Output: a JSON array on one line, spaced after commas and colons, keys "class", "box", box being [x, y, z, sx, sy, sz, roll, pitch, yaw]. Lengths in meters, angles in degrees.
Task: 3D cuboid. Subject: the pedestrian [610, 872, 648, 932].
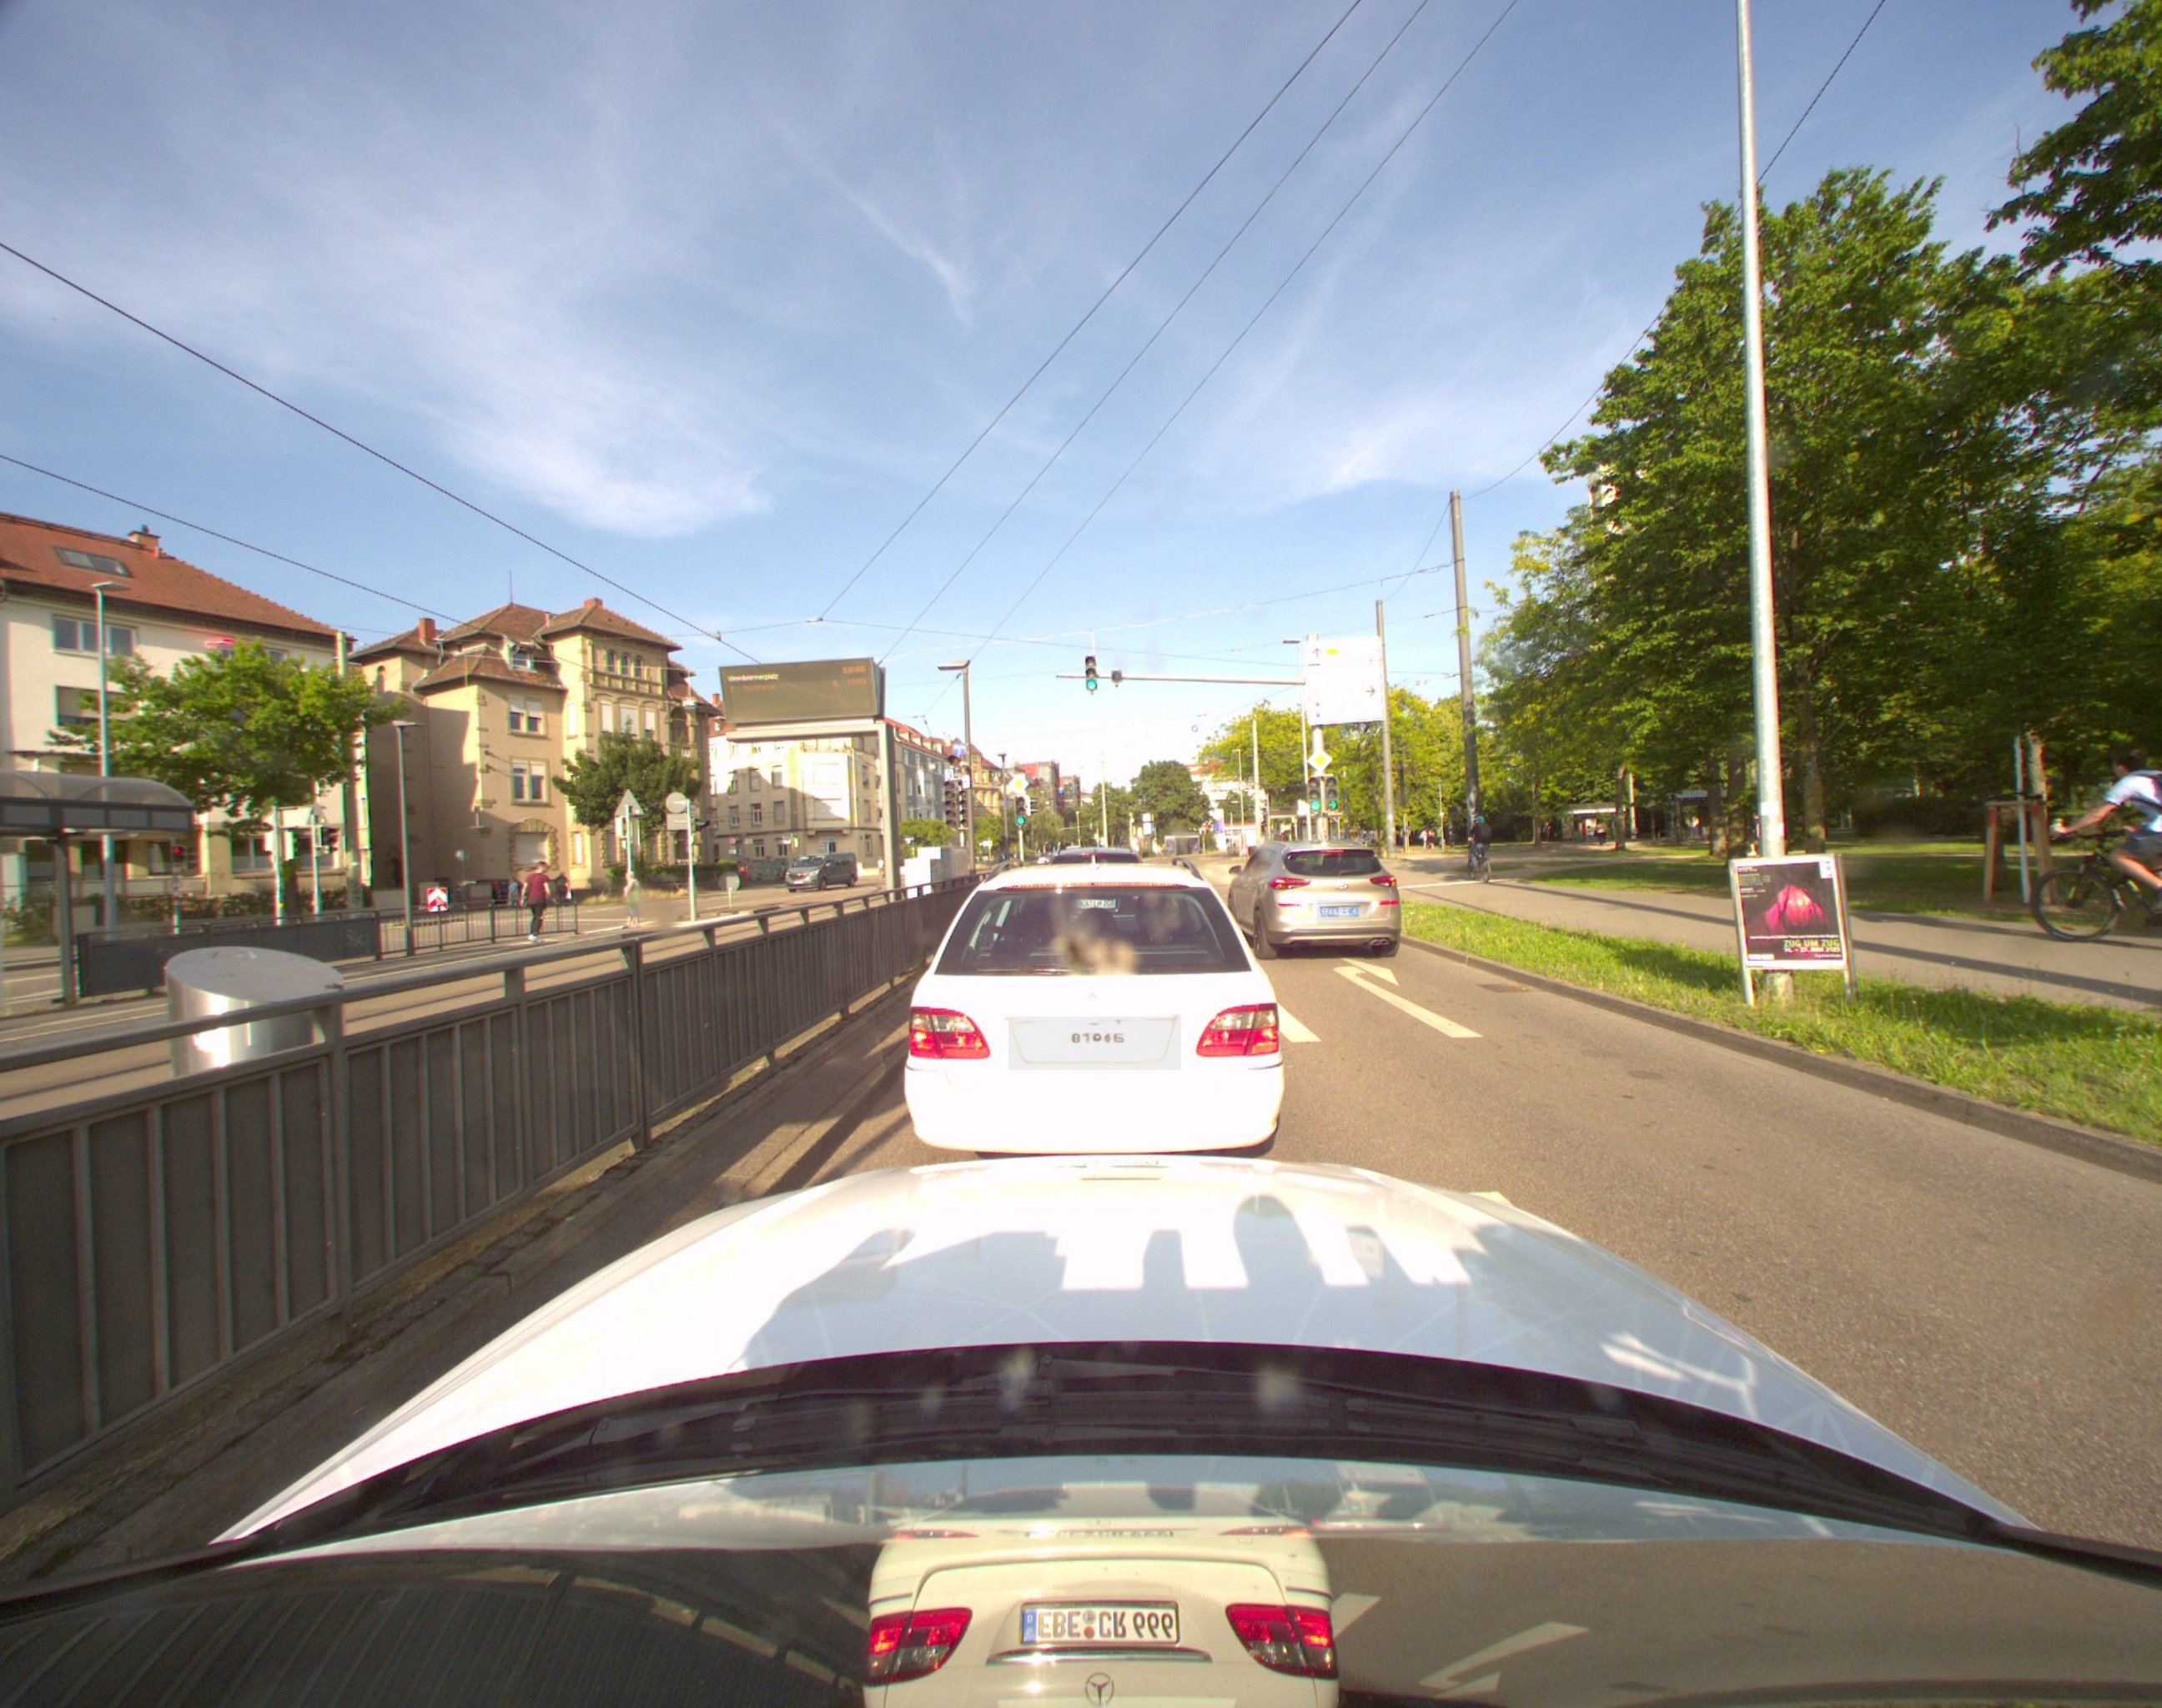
[{"class": "pedestrian", "box": [-12.522, 1.308, 22.580, 0.588, 1.589, 0.715, -3, 0, -2]}]

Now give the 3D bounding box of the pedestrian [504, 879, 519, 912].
[{"class": "pedestrian", "box": [-26.865, 1.945, 38.417, 0.400, 1.515, 0.392, -3, 0, 28]}]

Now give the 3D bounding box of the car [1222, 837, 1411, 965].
[{"class": "car", "box": [3.337, 0.590, 12.301, 1.828, 1.600, 3.817, -1, 0, 2]}]

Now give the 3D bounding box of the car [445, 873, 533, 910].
[{"class": "car", "box": [-29.439, 1.884, 40.494, 3.950, 1.632, 1.787, -3, 1, 26]}]

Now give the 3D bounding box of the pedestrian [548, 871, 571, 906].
[{"class": "pedestrian", "box": [-24.941, 1.646, 38.956, 0.672, 1.651, 0.608, -3, 0, 28]}]

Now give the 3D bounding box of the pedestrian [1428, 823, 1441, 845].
[{"class": "pedestrian", "box": [27.437, -1.532, 63.263, 0.638, 1.665, 0.691, -3, 0, 1]}]

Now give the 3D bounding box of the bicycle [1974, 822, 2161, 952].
[{"class": "bicycle", "box": [9.581, 0.276, 7.449, 0.638, 1.088, 1.940, -5, 0, 1]}]

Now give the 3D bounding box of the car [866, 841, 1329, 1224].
[{"class": "car", "box": [0.122, 0.711, 5.173, 1.828, 1.501, 3.817, -1, 0, 2]}]

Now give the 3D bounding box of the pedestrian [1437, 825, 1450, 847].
[{"class": "pedestrian", "box": [27.662, -1.347, 62.083, 0.638, 1.665, 0.691, -3, 0, 1]}]

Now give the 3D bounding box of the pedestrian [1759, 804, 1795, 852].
[{"class": "pedestrian", "box": [27.793, -1.012, 32.539, 0.668, 1.897, 0.880, 0, 0, 3]}]

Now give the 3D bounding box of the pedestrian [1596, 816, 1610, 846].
[{"class": "pedestrian", "box": [32.605, -1.425, 50.865, 0.461, 1.868, 0.603, 0, -1, -12]}]

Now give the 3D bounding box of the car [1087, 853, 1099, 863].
[{"class": "car", "box": [2.003, 0.630, 134.851, 1.760, 1.494, 4.746, -3, 2, 1]}]

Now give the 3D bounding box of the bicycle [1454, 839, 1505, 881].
[{"class": "bicycle", "box": [11.241, 0.166, 23.036, 0.637, 1.088, 1.736, -5, 0, 6]}]

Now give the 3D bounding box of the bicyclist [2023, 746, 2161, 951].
[{"class": "bicyclist", "box": [9.511, -0.068, 7.301, 0.647, 1.745, 1.140, -6, 0, 1]}]

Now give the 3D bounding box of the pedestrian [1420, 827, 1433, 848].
[{"class": "pedestrian", "box": [27.194, -1.332, 64.117, 0.638, 1.610, 0.691, -3, 0, 1]}]

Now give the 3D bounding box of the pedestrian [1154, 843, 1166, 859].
[{"class": "pedestrian", "box": [8.548, -0.322, 88.285, 0.998, 1.591, 0.870, -3, 0, 21]}]

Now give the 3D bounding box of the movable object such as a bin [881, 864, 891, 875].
[{"class": "movable object such as a bin", "box": [-16.522, 1.311, 68.987, 0.580, 0.947, 0.663, -3, 0, 3]}]

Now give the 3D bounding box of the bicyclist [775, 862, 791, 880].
[{"class": "bicyclist", "box": [-26.281, 1.513, 71.787, 1.031, 1.569, 0.665, -3, 0, 21]}]

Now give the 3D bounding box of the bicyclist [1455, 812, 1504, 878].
[{"class": "bicyclist", "box": [11.147, -0.244, 22.824, 0.716, 1.745, 1.142, -6, 0, 5]}]

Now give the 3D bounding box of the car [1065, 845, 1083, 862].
[{"class": "car", "box": [-0.996, -0.125, 118.191, 2.168, 2.239, 5.257, -3, 0, 3]}]

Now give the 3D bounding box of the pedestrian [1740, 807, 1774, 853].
[{"class": "pedestrian", "box": [26.936, -0.953, 32.464, 0.668, 1.777, 0.881, -1, 0, 3]}]

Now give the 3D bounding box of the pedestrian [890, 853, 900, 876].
[{"class": "pedestrian", "box": [-15.644, 0.902, 68.378, 0.582, 1.880, 0.626, -3, 2, -1]}]

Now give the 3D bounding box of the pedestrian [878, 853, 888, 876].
[{"class": "pedestrian", "box": [-16.594, 0.876, 68.259, 0.582, 1.881, 0.627, -3, 0, 2]}]

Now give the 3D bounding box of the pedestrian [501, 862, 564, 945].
[{"class": "pedestrian", "box": [-11.515, 1.019, 17.120, 0.668, 1.670, 0.883, -3, 0, -1]}]

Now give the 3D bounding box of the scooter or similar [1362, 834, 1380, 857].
[{"class": "scooter or similar", "box": [16.110, -0.445, 45.232, 0.351, 1.232, 1.131, -3, 0, -12]}]

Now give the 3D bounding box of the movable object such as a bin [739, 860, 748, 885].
[{"class": "movable object such as a bin", "box": [-23.651, 1.278, 57.058, 0.265, 1.709, 2.360, -3, 0, -29]}]

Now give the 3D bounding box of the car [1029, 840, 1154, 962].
[{"class": "car", "box": [0.202, 0.627, 12.794, 1.635, 1.600, 3.817, -1, 0, 2]}]

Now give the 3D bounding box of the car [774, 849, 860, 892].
[{"class": "car", "box": [-13.832, 0.824, 43.081, 2.133, 2.013, 5.398, -3, 0, 7]}]

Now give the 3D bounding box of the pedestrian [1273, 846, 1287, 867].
[{"class": "pedestrian", "box": [19.489, 0.207, 79.735, 0.986, 2.013, 0.833, -3, 0, 29]}]

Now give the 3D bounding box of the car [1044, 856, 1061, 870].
[{"class": "car", "box": [-3.514, 1.130, 101.117, 1.670, 1.525, 4.128, -3, 1, 3]}]

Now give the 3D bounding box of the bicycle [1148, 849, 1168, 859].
[{"class": "bicycle", "box": [8.337, 0.006, 88.378, 2.000, 0.947, 0.884, -3, 0, 21]}]

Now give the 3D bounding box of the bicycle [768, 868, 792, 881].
[{"class": "bicycle", "box": [-26.534, 1.803, 71.868, 1.973, 1.006, 0.746, -3, 0, 22]}]
